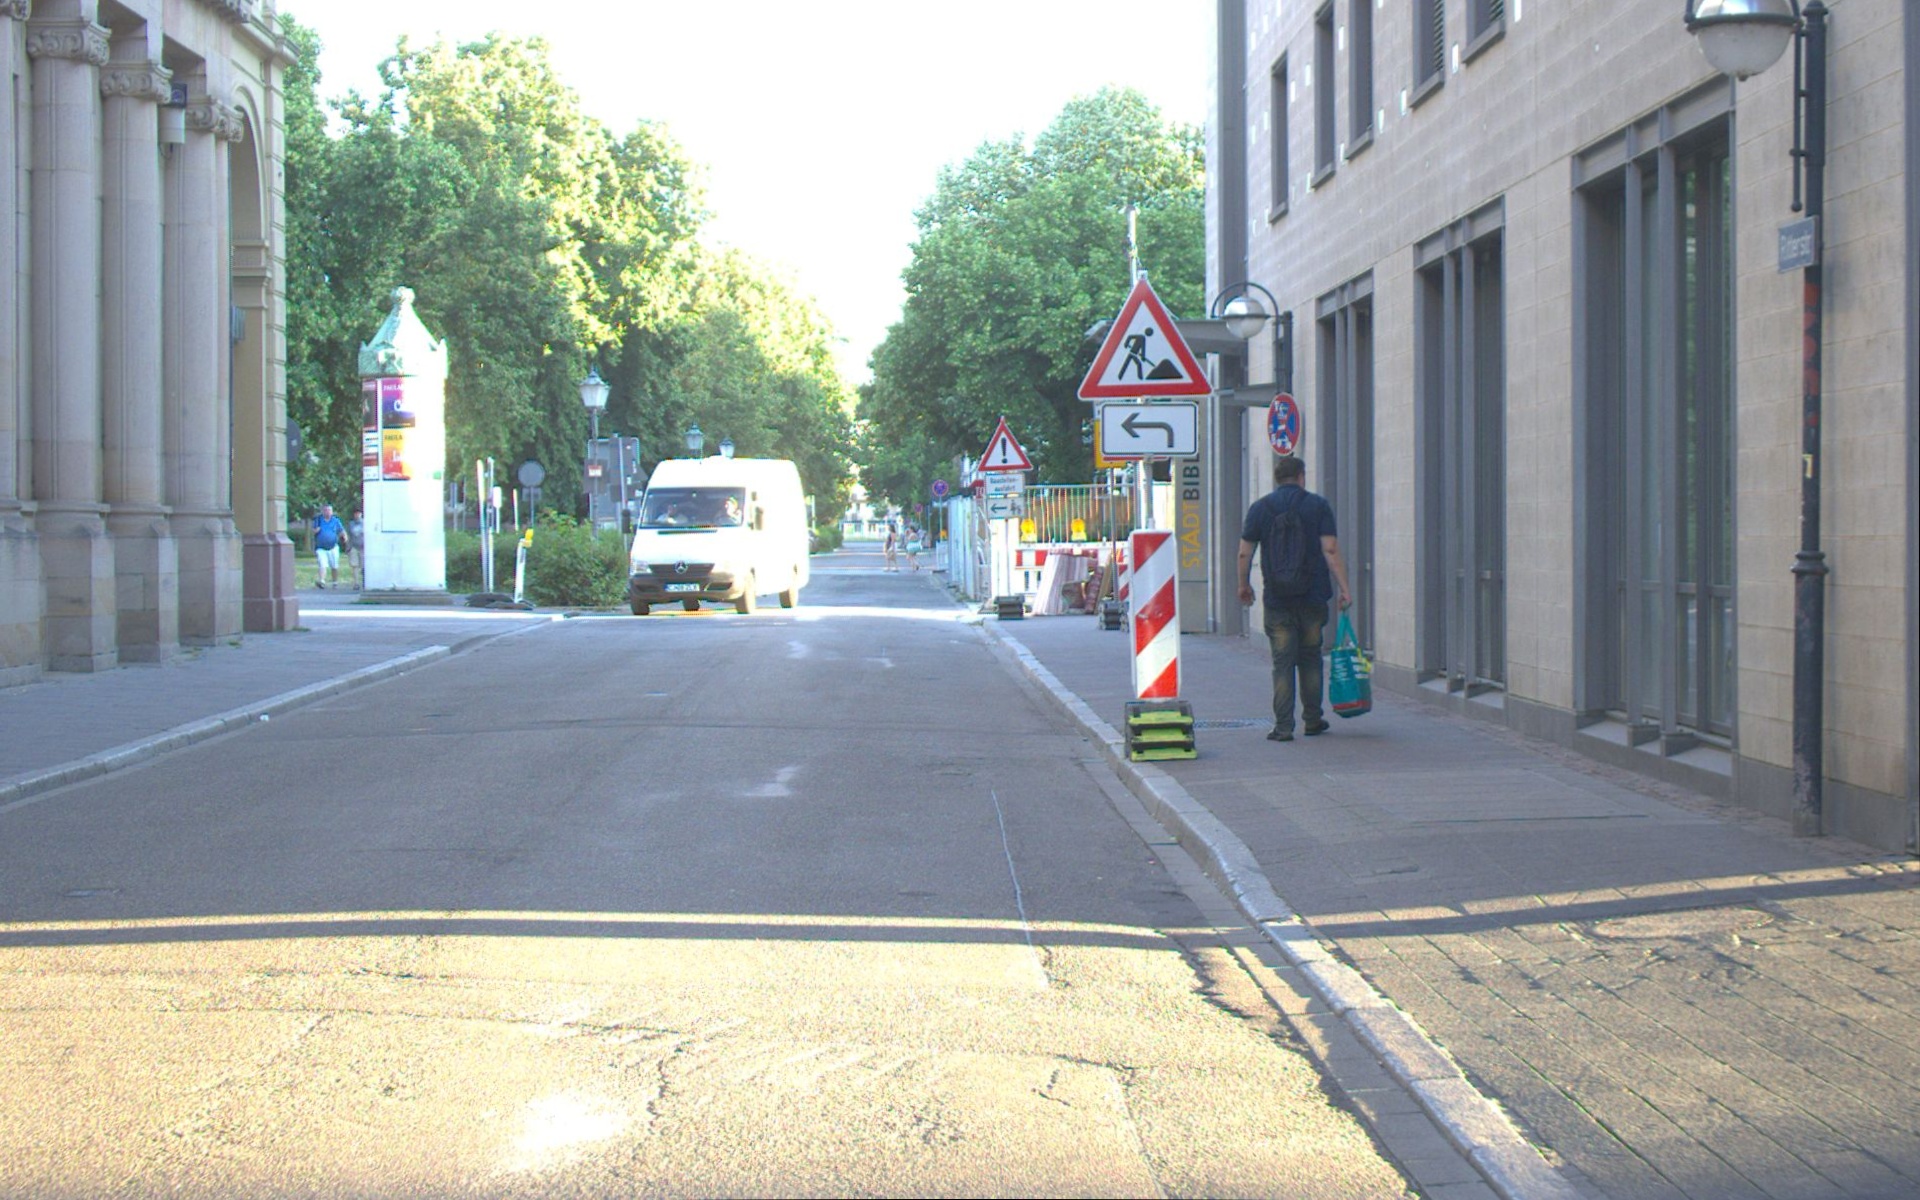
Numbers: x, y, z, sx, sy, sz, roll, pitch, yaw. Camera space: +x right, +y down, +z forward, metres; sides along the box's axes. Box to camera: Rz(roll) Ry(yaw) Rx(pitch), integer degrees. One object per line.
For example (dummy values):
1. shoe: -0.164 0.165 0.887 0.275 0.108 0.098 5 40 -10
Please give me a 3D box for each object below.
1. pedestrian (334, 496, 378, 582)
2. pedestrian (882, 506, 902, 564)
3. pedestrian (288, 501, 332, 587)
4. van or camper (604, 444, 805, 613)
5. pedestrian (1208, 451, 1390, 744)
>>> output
1. pedestrian: -12.810 -1.294 72.914 0.849 1.801 0.664 0 1 -14
2. pedestrian: -2.388 -2.284 120.280 0.581 2.007 0.682 0 1 -9
3. pedestrian: -13.734 -1.181 72.631 0.849 1.801 0.664 0 1 -14
4. van or camper: -4.047 -1.180 55.771 2.219 2.576 6.371 0 1 5
5. pedestrian: 2.142 -0.022 21.825 1.000 1.797 0.882 -1 0 -2
